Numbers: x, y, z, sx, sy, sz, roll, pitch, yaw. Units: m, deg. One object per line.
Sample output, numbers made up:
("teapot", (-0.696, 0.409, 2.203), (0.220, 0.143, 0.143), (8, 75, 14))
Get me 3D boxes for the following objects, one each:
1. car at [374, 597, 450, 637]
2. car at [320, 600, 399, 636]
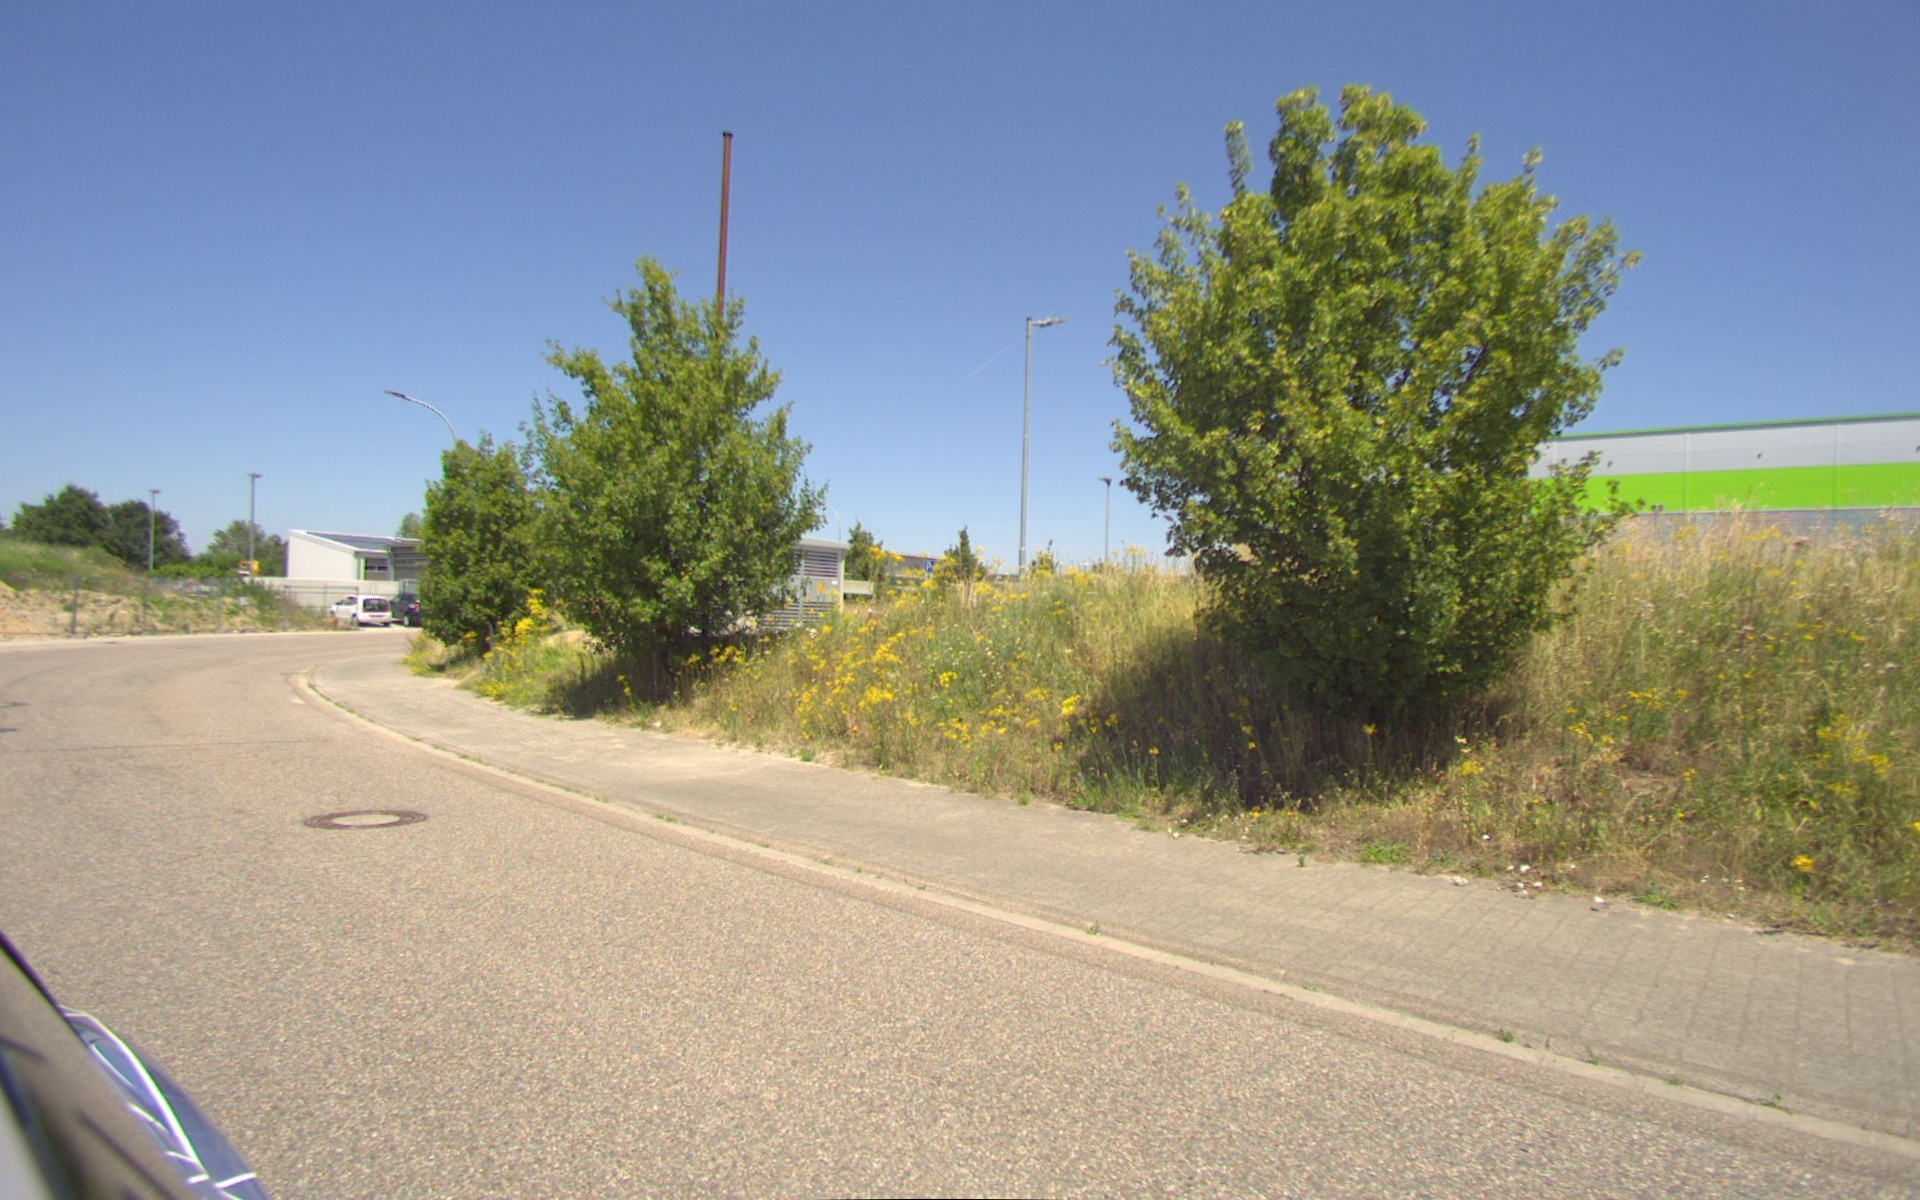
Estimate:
("car", (-28.032, 0.859, 51.713), (4.017, 1.667, 1.835), (6, 2, 37))
("car", (-29.554, 0.872, 49.801), (4.016, 1.473, 1.869), (4, 0, 36))
